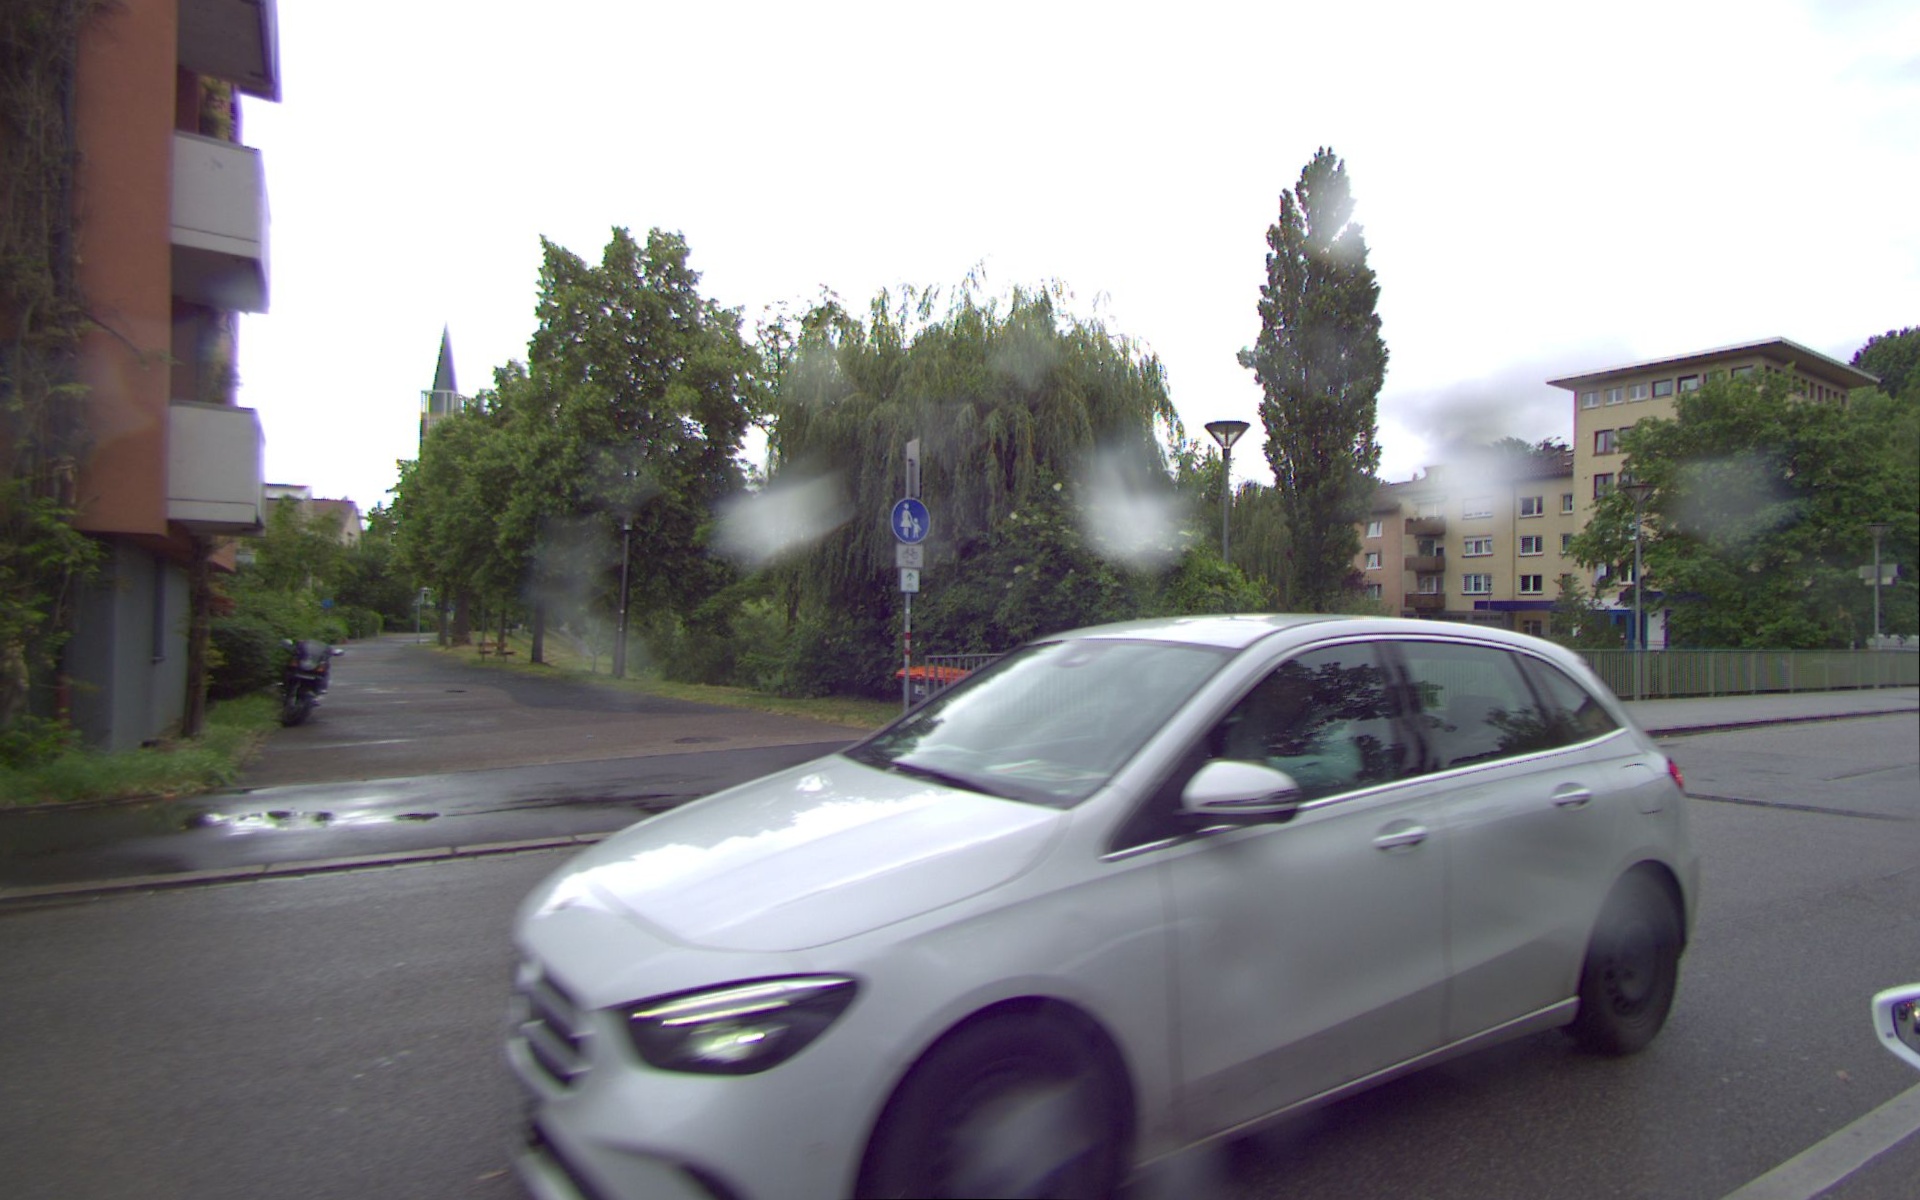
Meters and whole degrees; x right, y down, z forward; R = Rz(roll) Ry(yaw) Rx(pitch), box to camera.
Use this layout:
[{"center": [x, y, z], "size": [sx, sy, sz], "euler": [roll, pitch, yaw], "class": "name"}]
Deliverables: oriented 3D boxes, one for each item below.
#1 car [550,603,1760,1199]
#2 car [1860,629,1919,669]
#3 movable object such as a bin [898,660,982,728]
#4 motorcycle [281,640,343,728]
[{"center": [0.864, 0.806, 3.590], "size": [4.118, 1.493, 1.773], "euler": [1, -2, -31], "class": "car"}, {"center": [48.254, 2.474, 50.149], "size": [1.982, 1.879, 4.706], "euler": [-1, 0, -38], "class": "car"}, {"center": [-0.292, 1.315, 14.250], "size": [0.823, 0.888, 0.961], "euler": [2, -2, -30], "class": "movable object such as a bin"}, {"center": [-10.439, 1.293, 16.162], "size": [0.773, 1.280, 2.379], "euler": [0, -1, -34], "class": "motorcycle"}]
